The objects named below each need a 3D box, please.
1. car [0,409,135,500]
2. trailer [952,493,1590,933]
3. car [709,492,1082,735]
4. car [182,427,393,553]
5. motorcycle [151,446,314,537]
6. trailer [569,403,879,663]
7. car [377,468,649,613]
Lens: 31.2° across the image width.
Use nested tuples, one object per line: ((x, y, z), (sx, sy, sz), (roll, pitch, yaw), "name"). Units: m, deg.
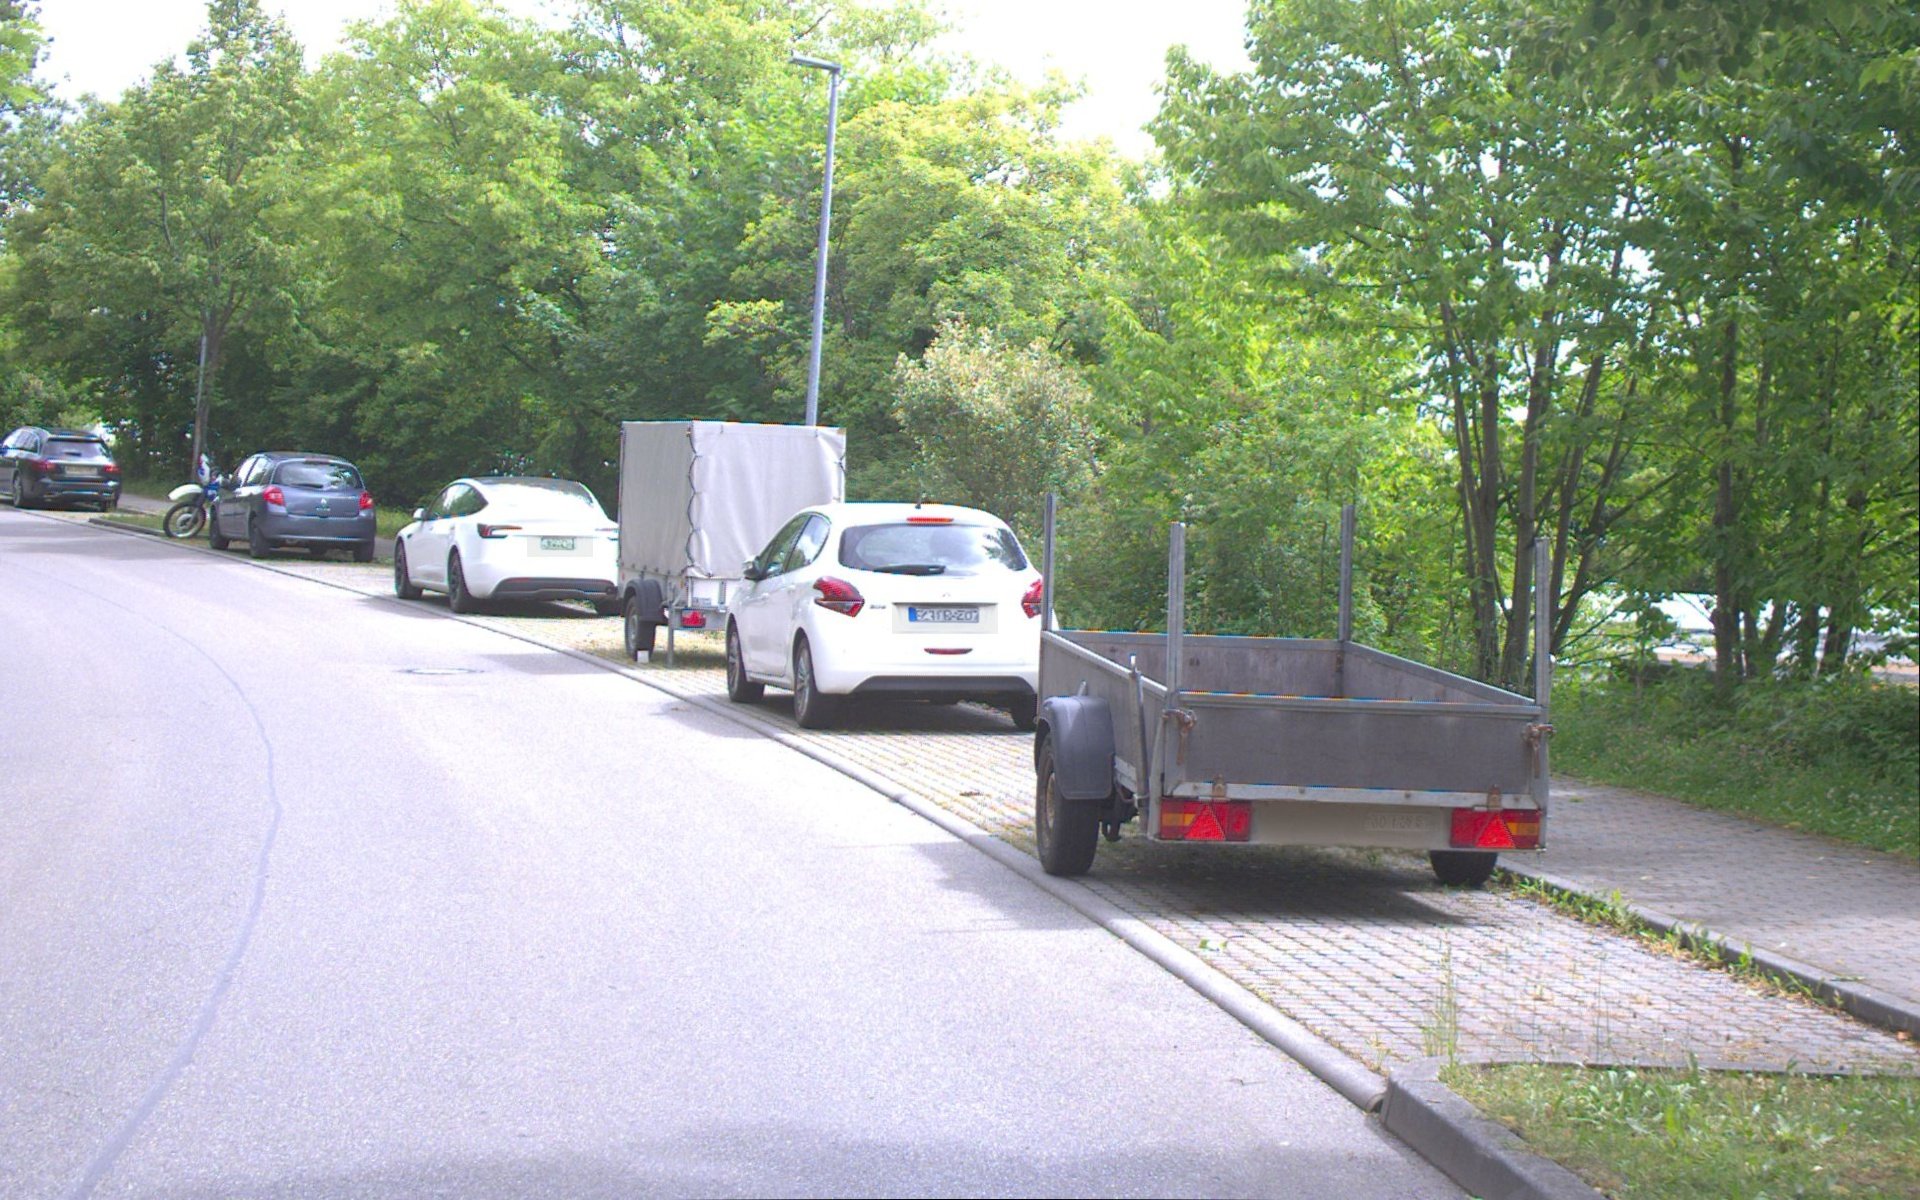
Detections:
((-16.510, -2.688, 62.795), (1.841, 1.511, 4.001), (1, 3, -28), "car")
((1.147, 0.362, 14.601), (1.784, 1.520, 4.001), (2, 2, -8), "trailer")
((-0.544, 0.030, 23.736), (1.768, 1.406, 4.002), (1, 3, -13), "car")
((-9.644, -1.615, 49.055), (1.886, 1.681, 4.353), (-2, 4, -26), "car")
((-11.070, -1.659, 52.338), (2.168, 1.261, 1.069), (2, 4, 14), "motorcycle")
((-2.141, -0.634, 30.088), (1.739, 2.104, 4.002), (1, 2, -18), "trailer")
((-4.990, -0.689, 37.844), (1.885, 1.371, 4.353), (1, 3, -22), "car")
